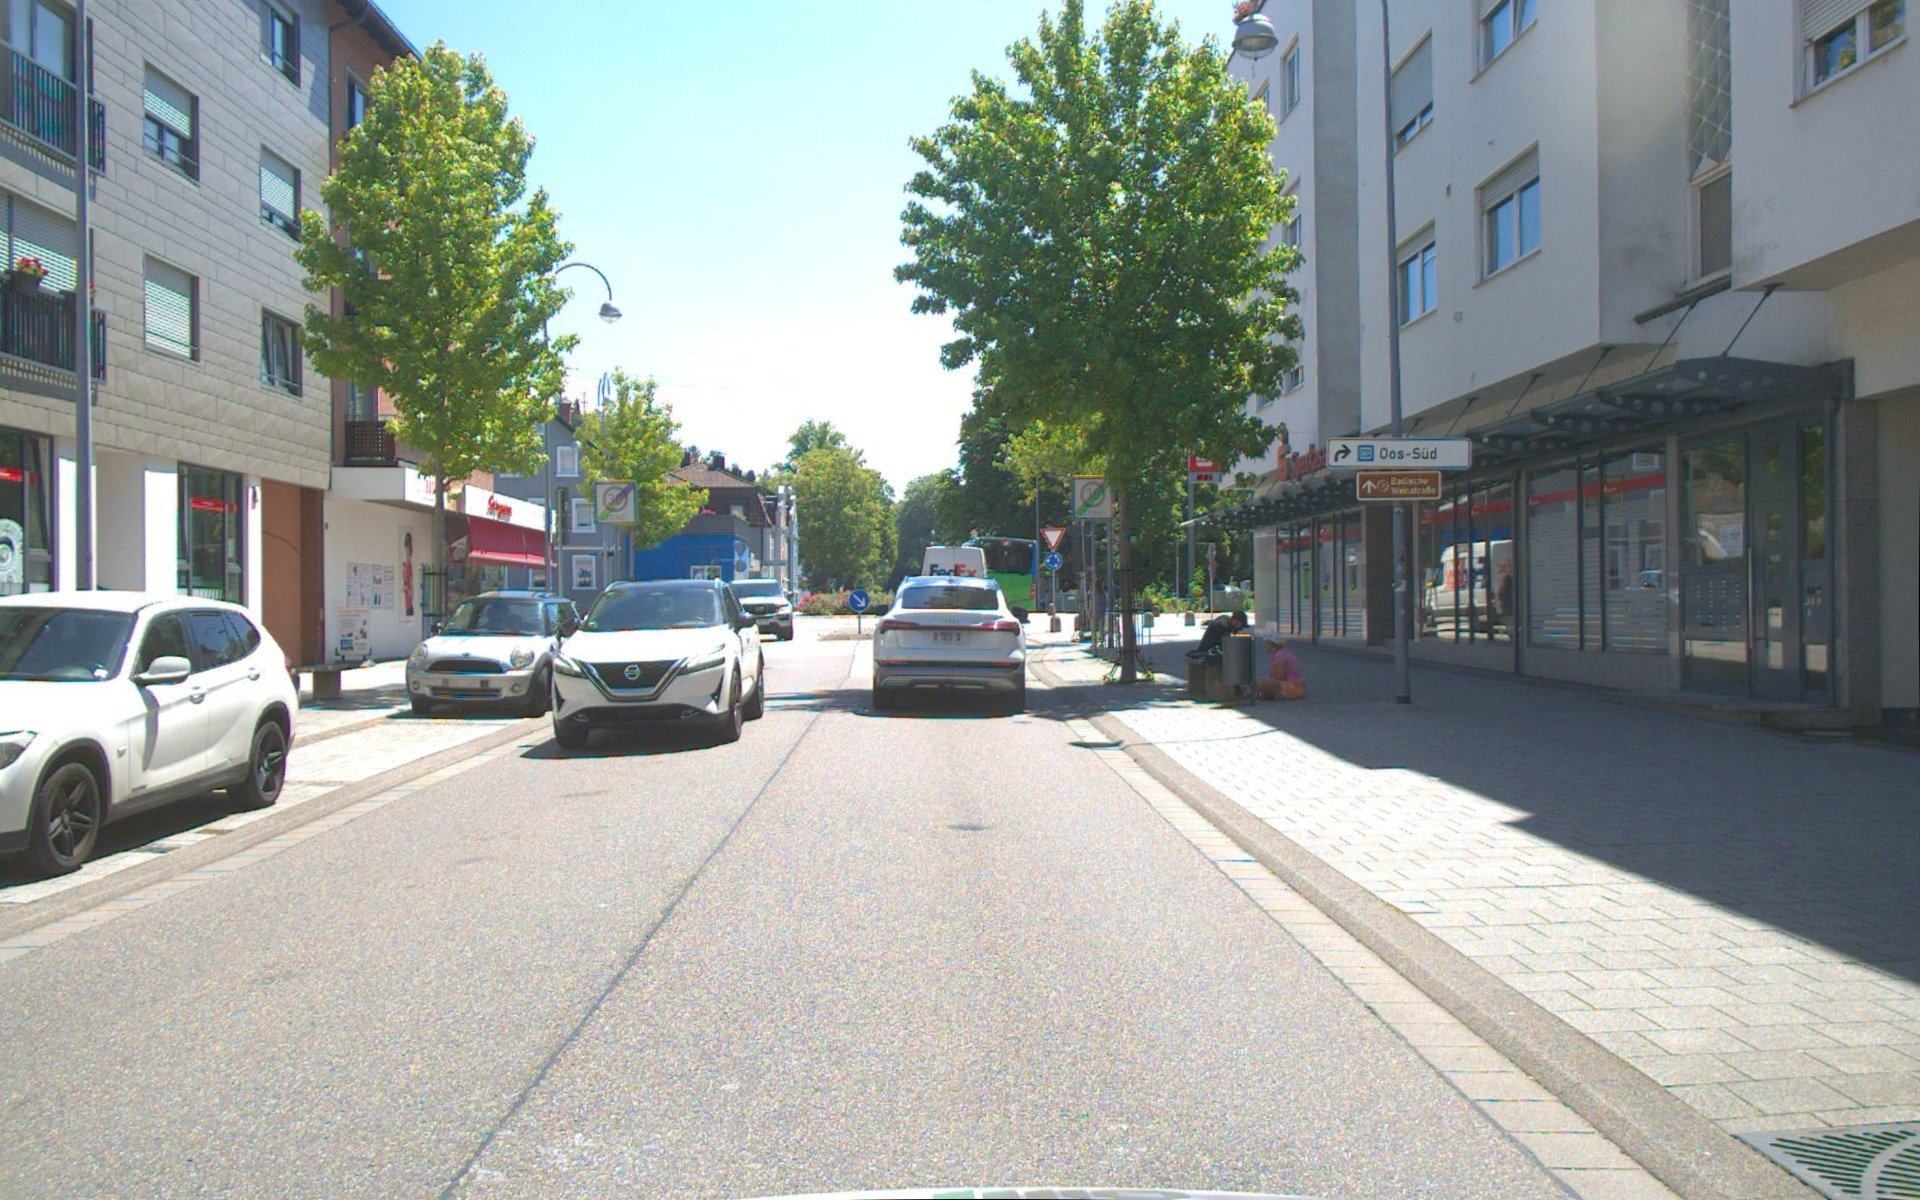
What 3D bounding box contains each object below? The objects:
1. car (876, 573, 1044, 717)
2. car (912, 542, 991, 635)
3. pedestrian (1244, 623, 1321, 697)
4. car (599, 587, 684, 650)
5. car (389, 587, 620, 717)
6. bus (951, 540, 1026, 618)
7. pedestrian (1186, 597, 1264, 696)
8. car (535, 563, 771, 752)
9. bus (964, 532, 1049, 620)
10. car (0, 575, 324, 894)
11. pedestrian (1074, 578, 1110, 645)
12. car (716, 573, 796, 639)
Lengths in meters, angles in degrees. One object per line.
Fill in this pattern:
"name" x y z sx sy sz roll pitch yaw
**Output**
"car" -0.084 0.523 21.318 1.954 1.661 3.998 1 0 -3
"car" -0.281 -0.294 47.827 2.112 2.484 5.282 1 0 -1
"pedestrian" 4.101 0.759 21.071 0.887 0.894 0.648 -1 0 3
"car" -8.143 0.447 42.595 1.802 1.521 3.994 -1 0 -6
"car" -5.766 0.610 21.489 1.716 1.478 4.401 1 0 0
"bus" 1.171 -0.887 73.555 2.608 3.266 7.444 -1 0 -4
"pedestrian" 3.442 0.595 21.525 0.888 1.258 0.648 -1 0 -2
"car" -3.124 0.542 17.664 1.819 1.721 4.149 -2 0 -2
"bus" 1.776 -0.898 66.270 2.608 3.278 7.294 1 0 -4
"car" -5.807 0.673 10.620 1.717 1.646 4.400 1 0 0
"pedestrian" 3.044 0.263 38.276 0.572 1.529 0.715 -1 0 -19
"car" -5.867 0.168 47.217 1.833 1.788 3.986 1 0 -13
